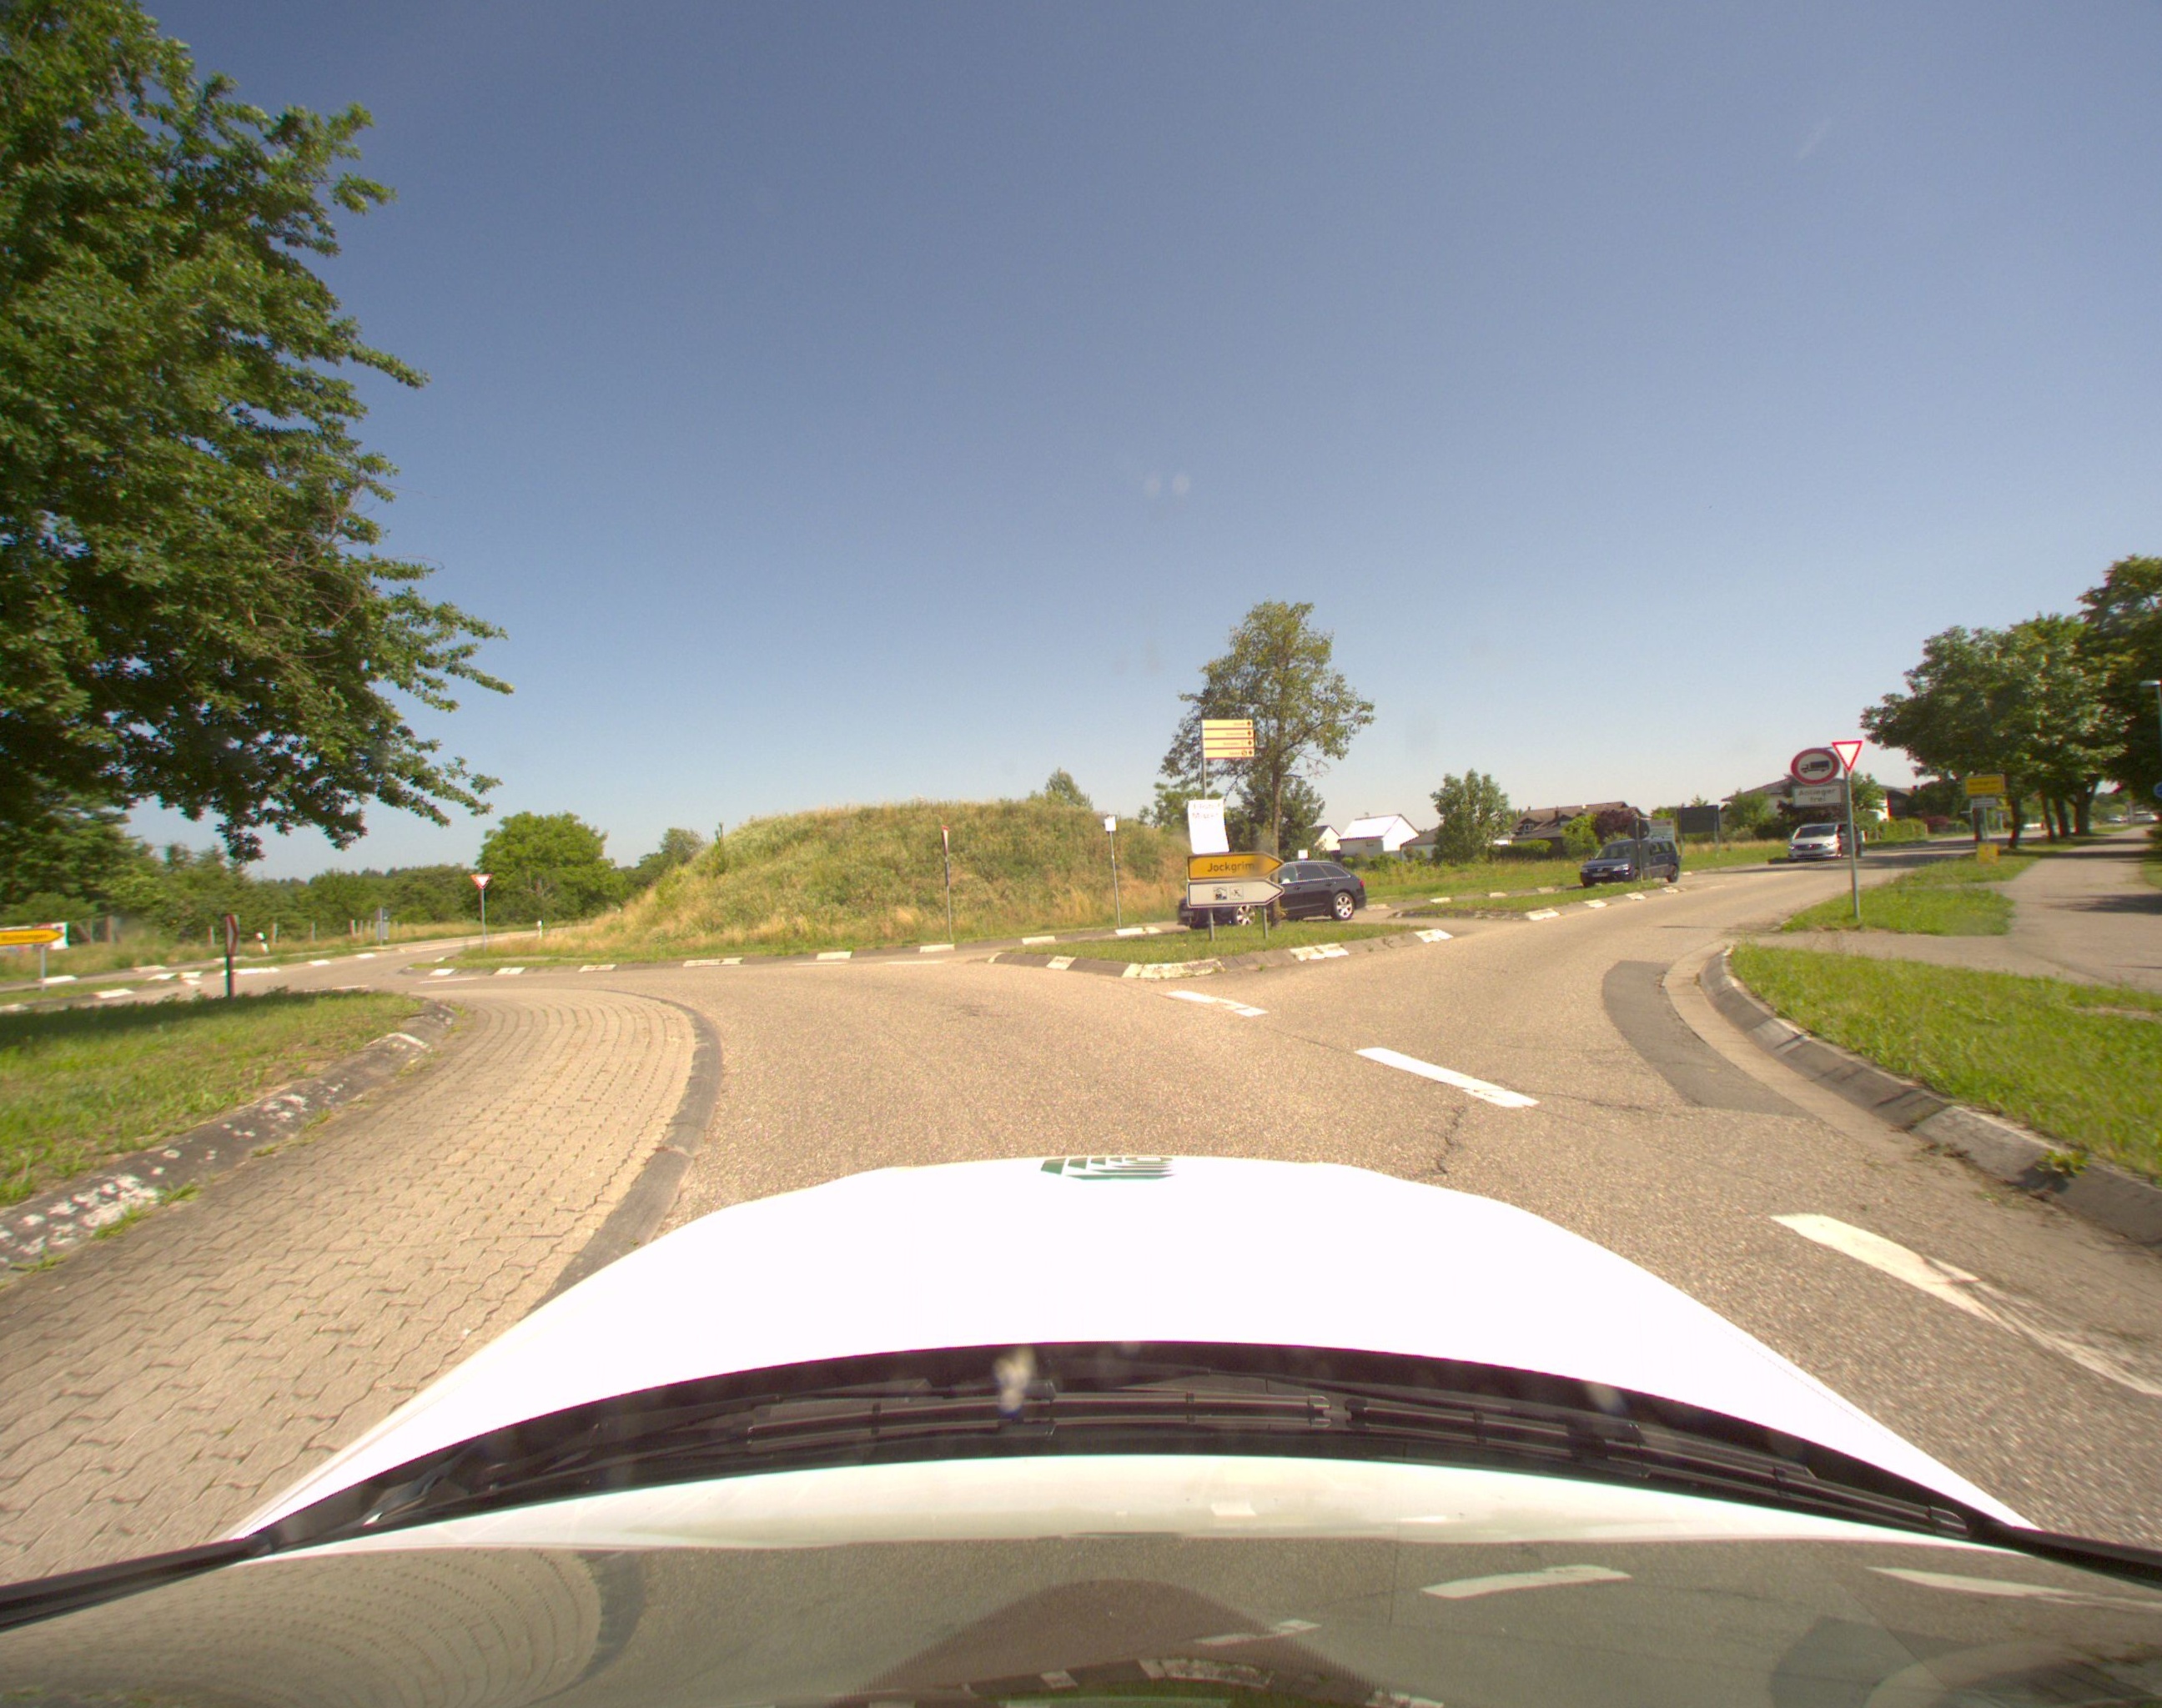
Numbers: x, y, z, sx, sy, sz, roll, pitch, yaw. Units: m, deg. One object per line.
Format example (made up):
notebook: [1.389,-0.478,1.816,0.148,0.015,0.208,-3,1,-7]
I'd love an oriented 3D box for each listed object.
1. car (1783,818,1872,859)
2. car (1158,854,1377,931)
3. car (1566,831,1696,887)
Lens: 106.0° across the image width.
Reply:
car: [37.312,-0.804,40.659,5.221,1.816,1.979,-2,-2,-33]
car: [4.401,0.874,18.981,4.928,1.434,1.904,-2,-4,-30]
car: [19.109,0.163,28.268,4.671,1.641,1.797,-2,-5,-31]
